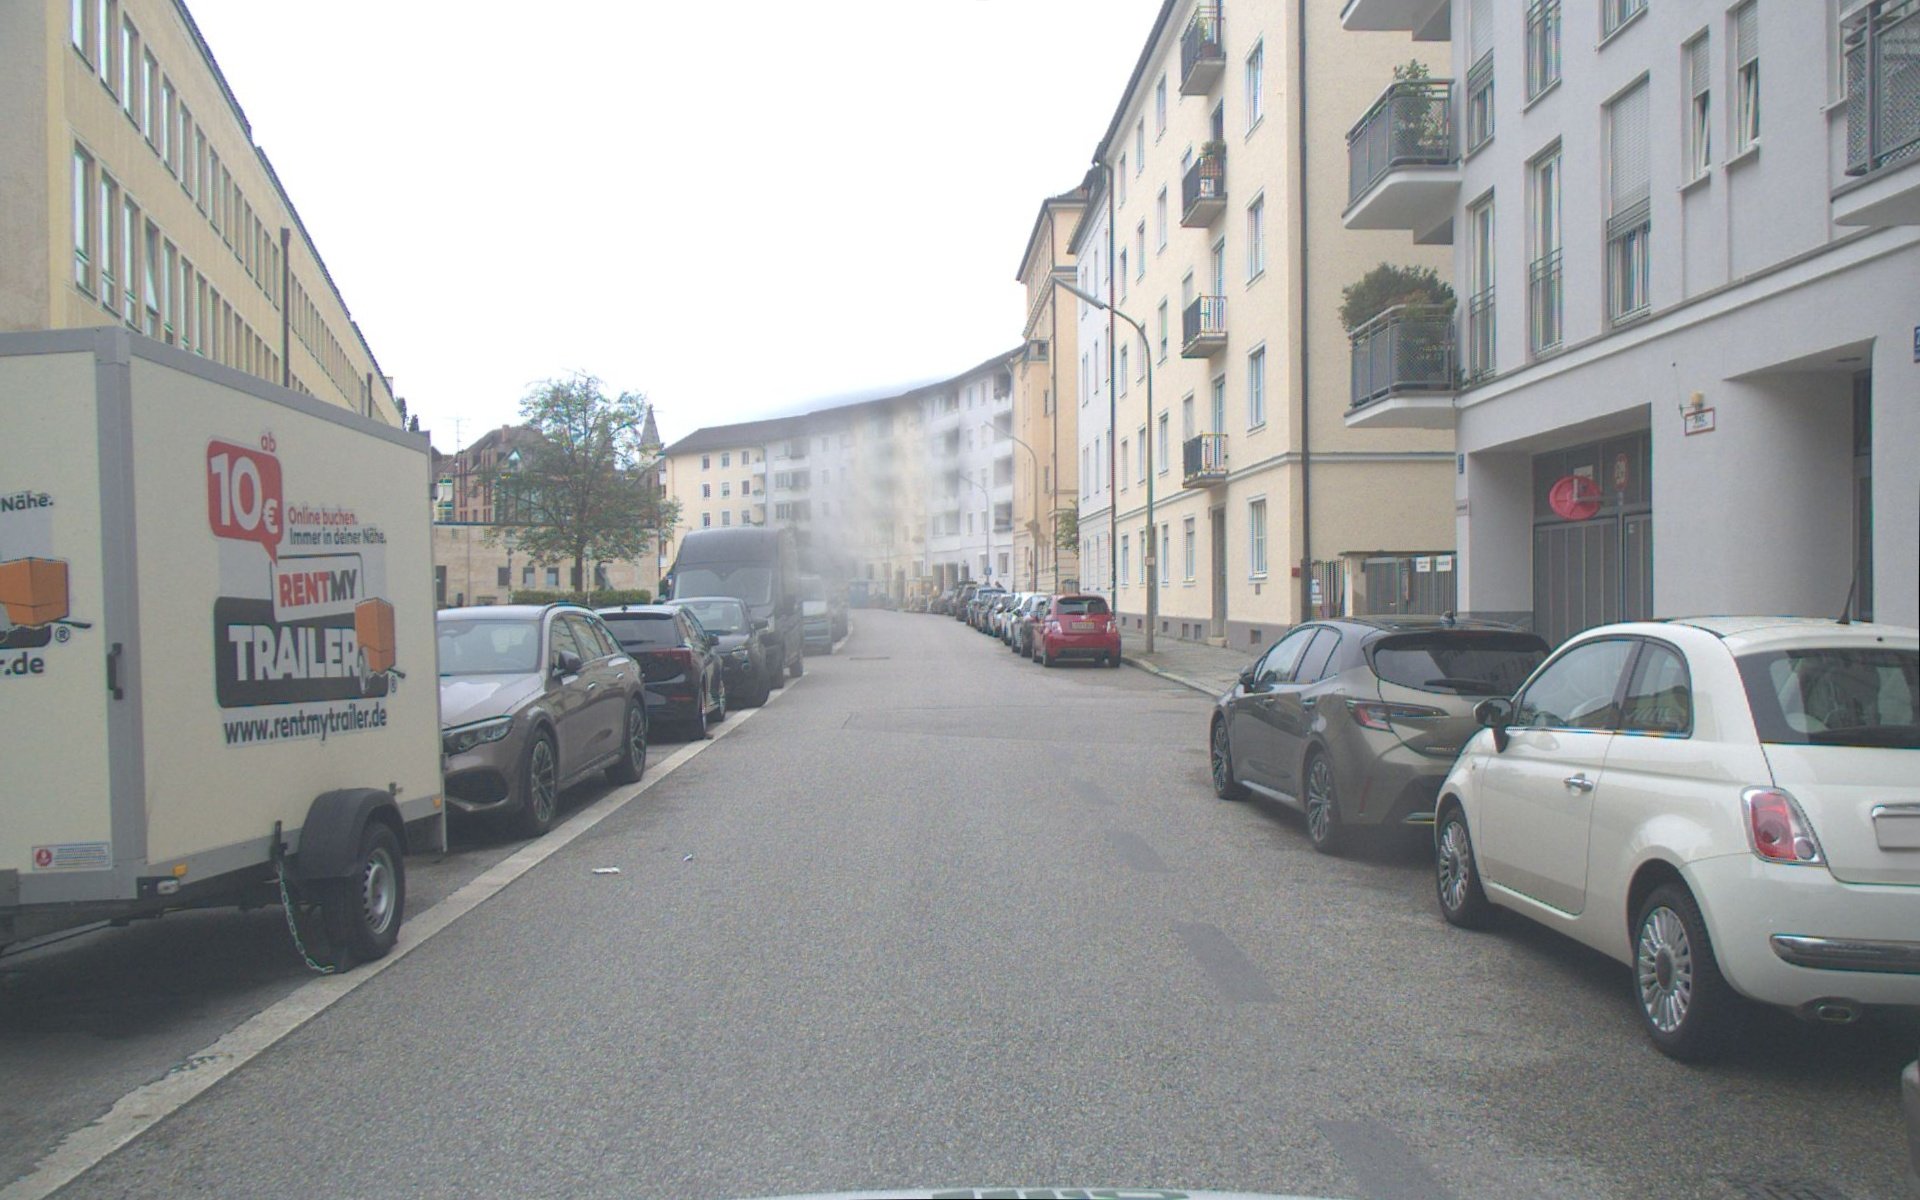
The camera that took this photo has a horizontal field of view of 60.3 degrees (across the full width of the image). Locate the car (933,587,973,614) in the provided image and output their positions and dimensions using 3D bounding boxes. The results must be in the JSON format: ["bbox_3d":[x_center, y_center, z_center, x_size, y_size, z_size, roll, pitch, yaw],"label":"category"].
[{"bbox_3d":[-0.437,0.002,97.727,1.872,1.503,4.940,0,1,-6],"label":"car"}]

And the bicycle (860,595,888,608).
[{"bbox_3d":[-7.158,0.139,137.844,2.205,1.088,0.911,0,0,-27],"label":"bicycle"}]

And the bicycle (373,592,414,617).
[{"bbox_3d":[-26.638,0.204,77.816,1.817,1.115,0.698,1,0,-20],"label":"bicycle"}]

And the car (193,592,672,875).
[{"bbox_3d":[-3.552,0.773,12.283,1.825,1.568,5.092,-2,1,1],"label":"car"}]

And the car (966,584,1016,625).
[{"bbox_3d":[1.296,0.159,71.046,1.810,1.692,4.495,1,1,-4],"label":"car"}]

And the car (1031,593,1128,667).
[{"bbox_3d":[2.502,0.602,35.472,1.622,1.454,3.754,1,1,-3],"label":"car"}]

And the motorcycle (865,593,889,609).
[{"bbox_3d":[-6.520,0.092,129.819,0.920,1.242,2.486,0,0,-26],"label":"motorcycle"}]

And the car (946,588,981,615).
[{"bbox_3d":[0.197,0.068,91.484,1.599,1.442,3.675,0,1,-5],"label":"car"}]

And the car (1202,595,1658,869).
[{"bbox_3d":[2.985,0.738,11.491,1.736,1.501,4.215,0,1,-4],"label":"car"}]

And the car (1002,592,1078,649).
[{"bbox_3d":[2.184,0.533,46.015,1.690,1.454,4.291,1,1,-3],"label":"car"}]

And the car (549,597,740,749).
[{"bbox_3d":[-3.536,0.744,19.189,1.642,1.461,4.283,-2,1,-4],"label":"car"}]

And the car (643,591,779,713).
[{"bbox_3d":[-3.499,0.676,23.791,1.620,1.523,3.905,-2,1,-5],"label":"car"}]

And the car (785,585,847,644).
[{"bbox_3d":[-4.500,0.422,52.085,1.680,1.719,4.139,-2,1,-2],"label":"car"}]

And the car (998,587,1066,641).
[{"bbox_3d":[2.181,0.413,50.945,1.618,1.570,3.990,0,1,-4],"label":"car"}]

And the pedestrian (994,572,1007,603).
[{"bbox_3d":[2.344,-0.717,96.055,0.605,1.719,0.919,-3,0,-2],"label":"pedestrian"}]

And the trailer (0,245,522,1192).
[{"bbox_3d":[-3.455,0.332,6.585,1.935,2.514,4.578,-3,0,2],"label":"trailer"}]

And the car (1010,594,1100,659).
[{"bbox_3d":[2.264,0.604,40.443,1.737,1.454,4.613,1,1,-3],"label":"car"}]

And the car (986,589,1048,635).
[{"bbox_3d":[1.895,0.391,56.259,1.690,1.475,4.185,1,1,-4],"label":"car"}]

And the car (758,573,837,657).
[{"bbox_3d":[-4.093,0.322,41.883,1.878,1.994,4.956,0,1,-5],"label":"car"}]

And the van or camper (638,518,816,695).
[{"bbox_3d":[-3.906,0.081,28.811,2.246,2.697,5.561,-2,0,0],"label":"van or camper"}]

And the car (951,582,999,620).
[{"bbox_3d":[0.704,0.025,81.110,2.126,1.769,5.022,1,1,-2],"label":"car"}]

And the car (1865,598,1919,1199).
[{"bbox_3d":[3.147,0.773,1.688,1.755,1.508,4.601,1,0,-3],"label":"car"}]

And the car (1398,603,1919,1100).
[{"bbox_3d":[3.188,0.793,7.036,1.584,1.492,3.746,1,1,-1],"label":"car"}]
